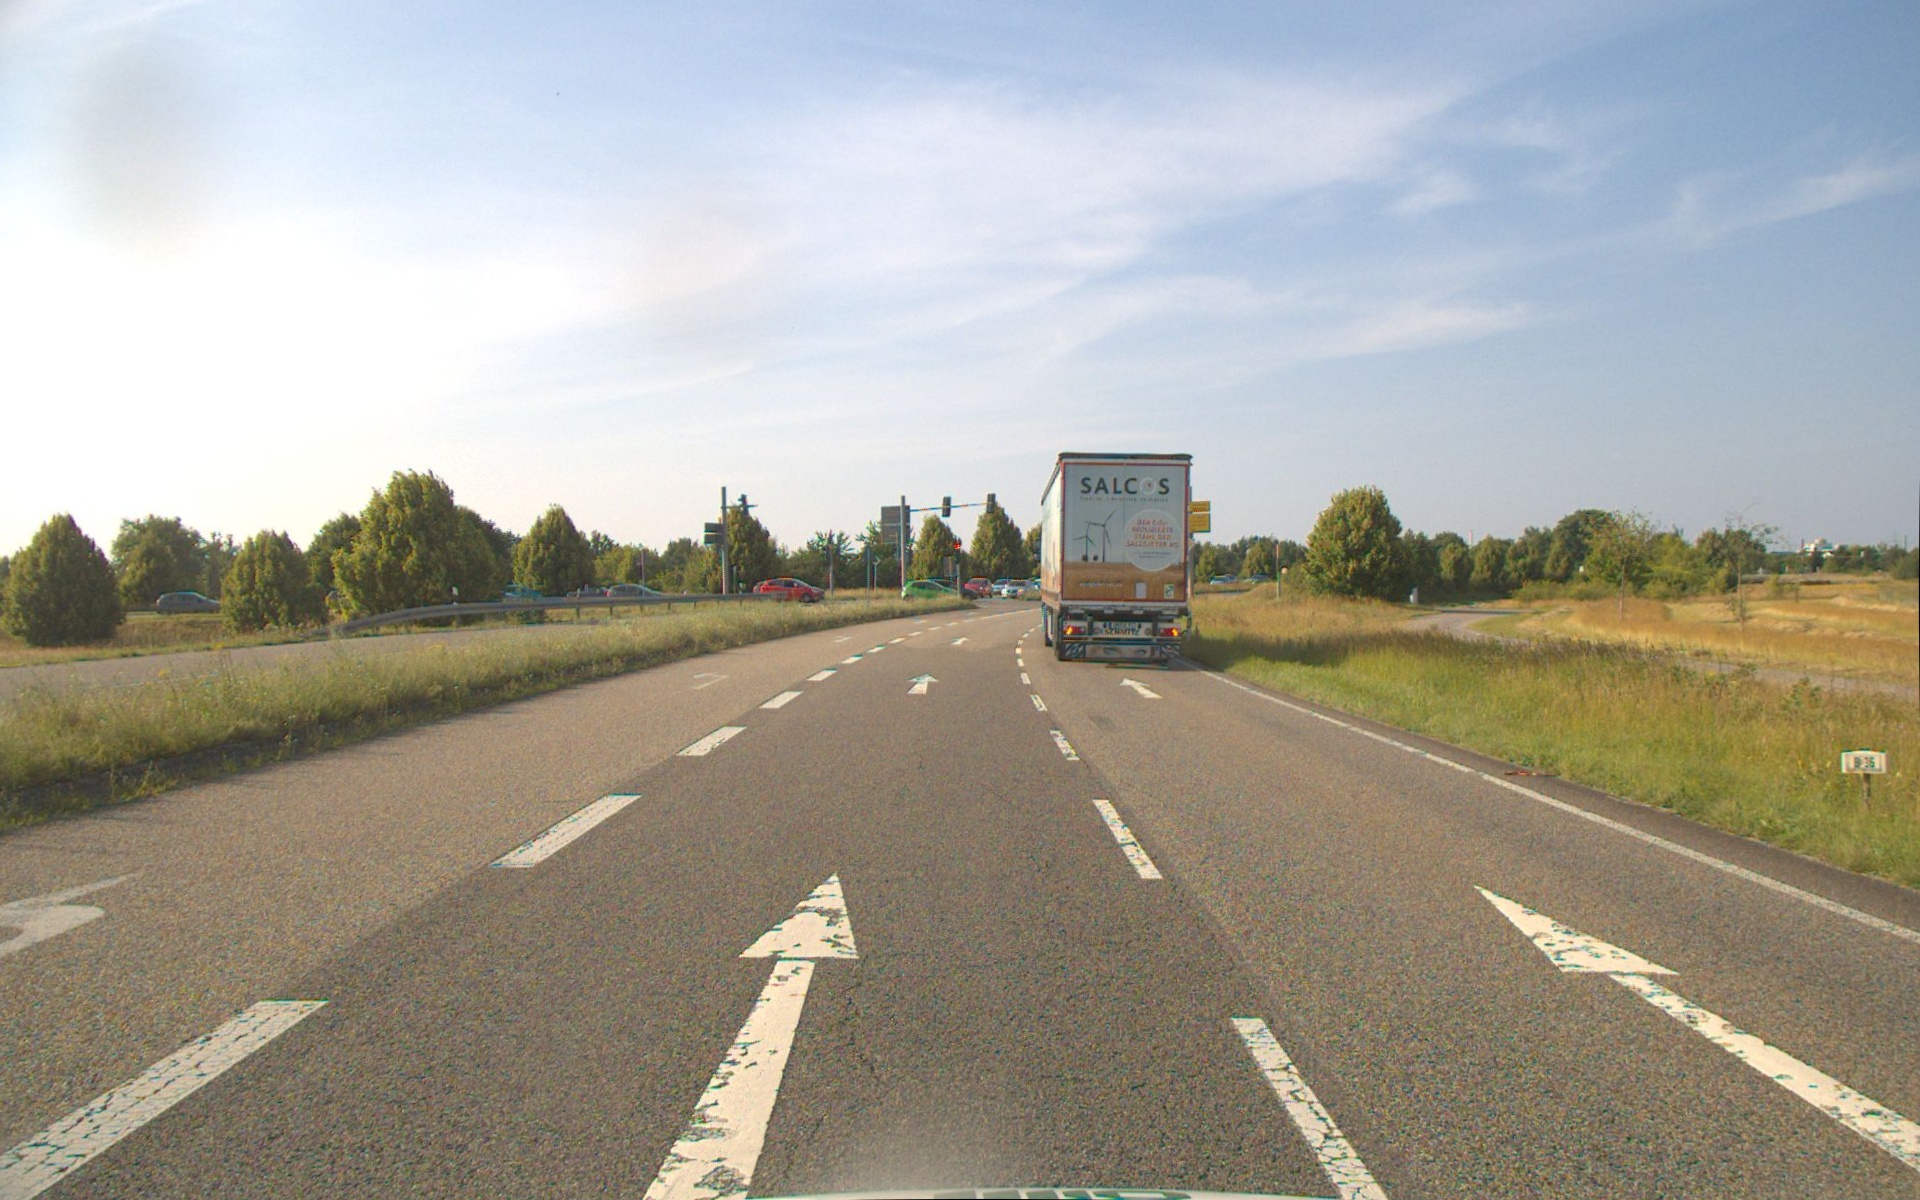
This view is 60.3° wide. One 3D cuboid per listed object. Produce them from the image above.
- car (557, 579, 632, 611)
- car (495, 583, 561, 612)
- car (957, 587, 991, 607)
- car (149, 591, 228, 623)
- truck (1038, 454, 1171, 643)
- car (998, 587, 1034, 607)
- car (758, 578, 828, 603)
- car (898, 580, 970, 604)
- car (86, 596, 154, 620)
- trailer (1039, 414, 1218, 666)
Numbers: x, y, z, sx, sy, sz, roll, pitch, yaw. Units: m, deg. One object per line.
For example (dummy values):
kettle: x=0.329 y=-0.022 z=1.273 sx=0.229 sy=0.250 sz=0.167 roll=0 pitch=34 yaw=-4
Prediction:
car: x=-24.219 y=-0.335 z=109.624 sx=4.362 sy=2.049 sz=2.002 roll=1 pitch=-1 yaw=10
car: x=-31.508 y=-0.184 z=120.672 sx=4.374 sy=2.049 sz=1.996 roll=1 pitch=-1 yaw=-8
car: x=1.127 y=-0.273 z=129.888 sx=1.684 sy=1.514 sz=3.807 roll=0 pitch=1 yaw=17
car: x=-51.775 y=0.465 z=111.033 sx=4.374 sy=2.049 sz=1.996 roll=1 pitch=-1 yaw=-8
truck: x=3.784 y=-1.332 z=44.625 sx=3.231 sy=4.739 sz=5.734 roll=1 pitch=0 yaw=2
car: x=4.334 y=-0.259 z=127.210 sx=1.748 sy=1.514 sz=4.654 roll=0 pitch=1 yaw=16
car: x=-10.923 y=-0.628 z=108.089 sx=4.173 sy=1.592 sz=1.903 roll=1 pitch=-1 yaw=8
car: x=-1.645 y=-0.525 z=105.902 sx=4.327 sy=1.441 sz=1.922 roll=1 pitch=0 yaw=8
car: x=-61.720 y=0.569 z=121.585 sx=3.907 sy=1.696 sz=1.999 roll=1 pitch=-1 yaw=-3
trailer: x=3.509 y=-1.246 z=38.030 sx=3.213 sy=4.762 sz=13.152 roll=1 pitch=1 yaw=2
